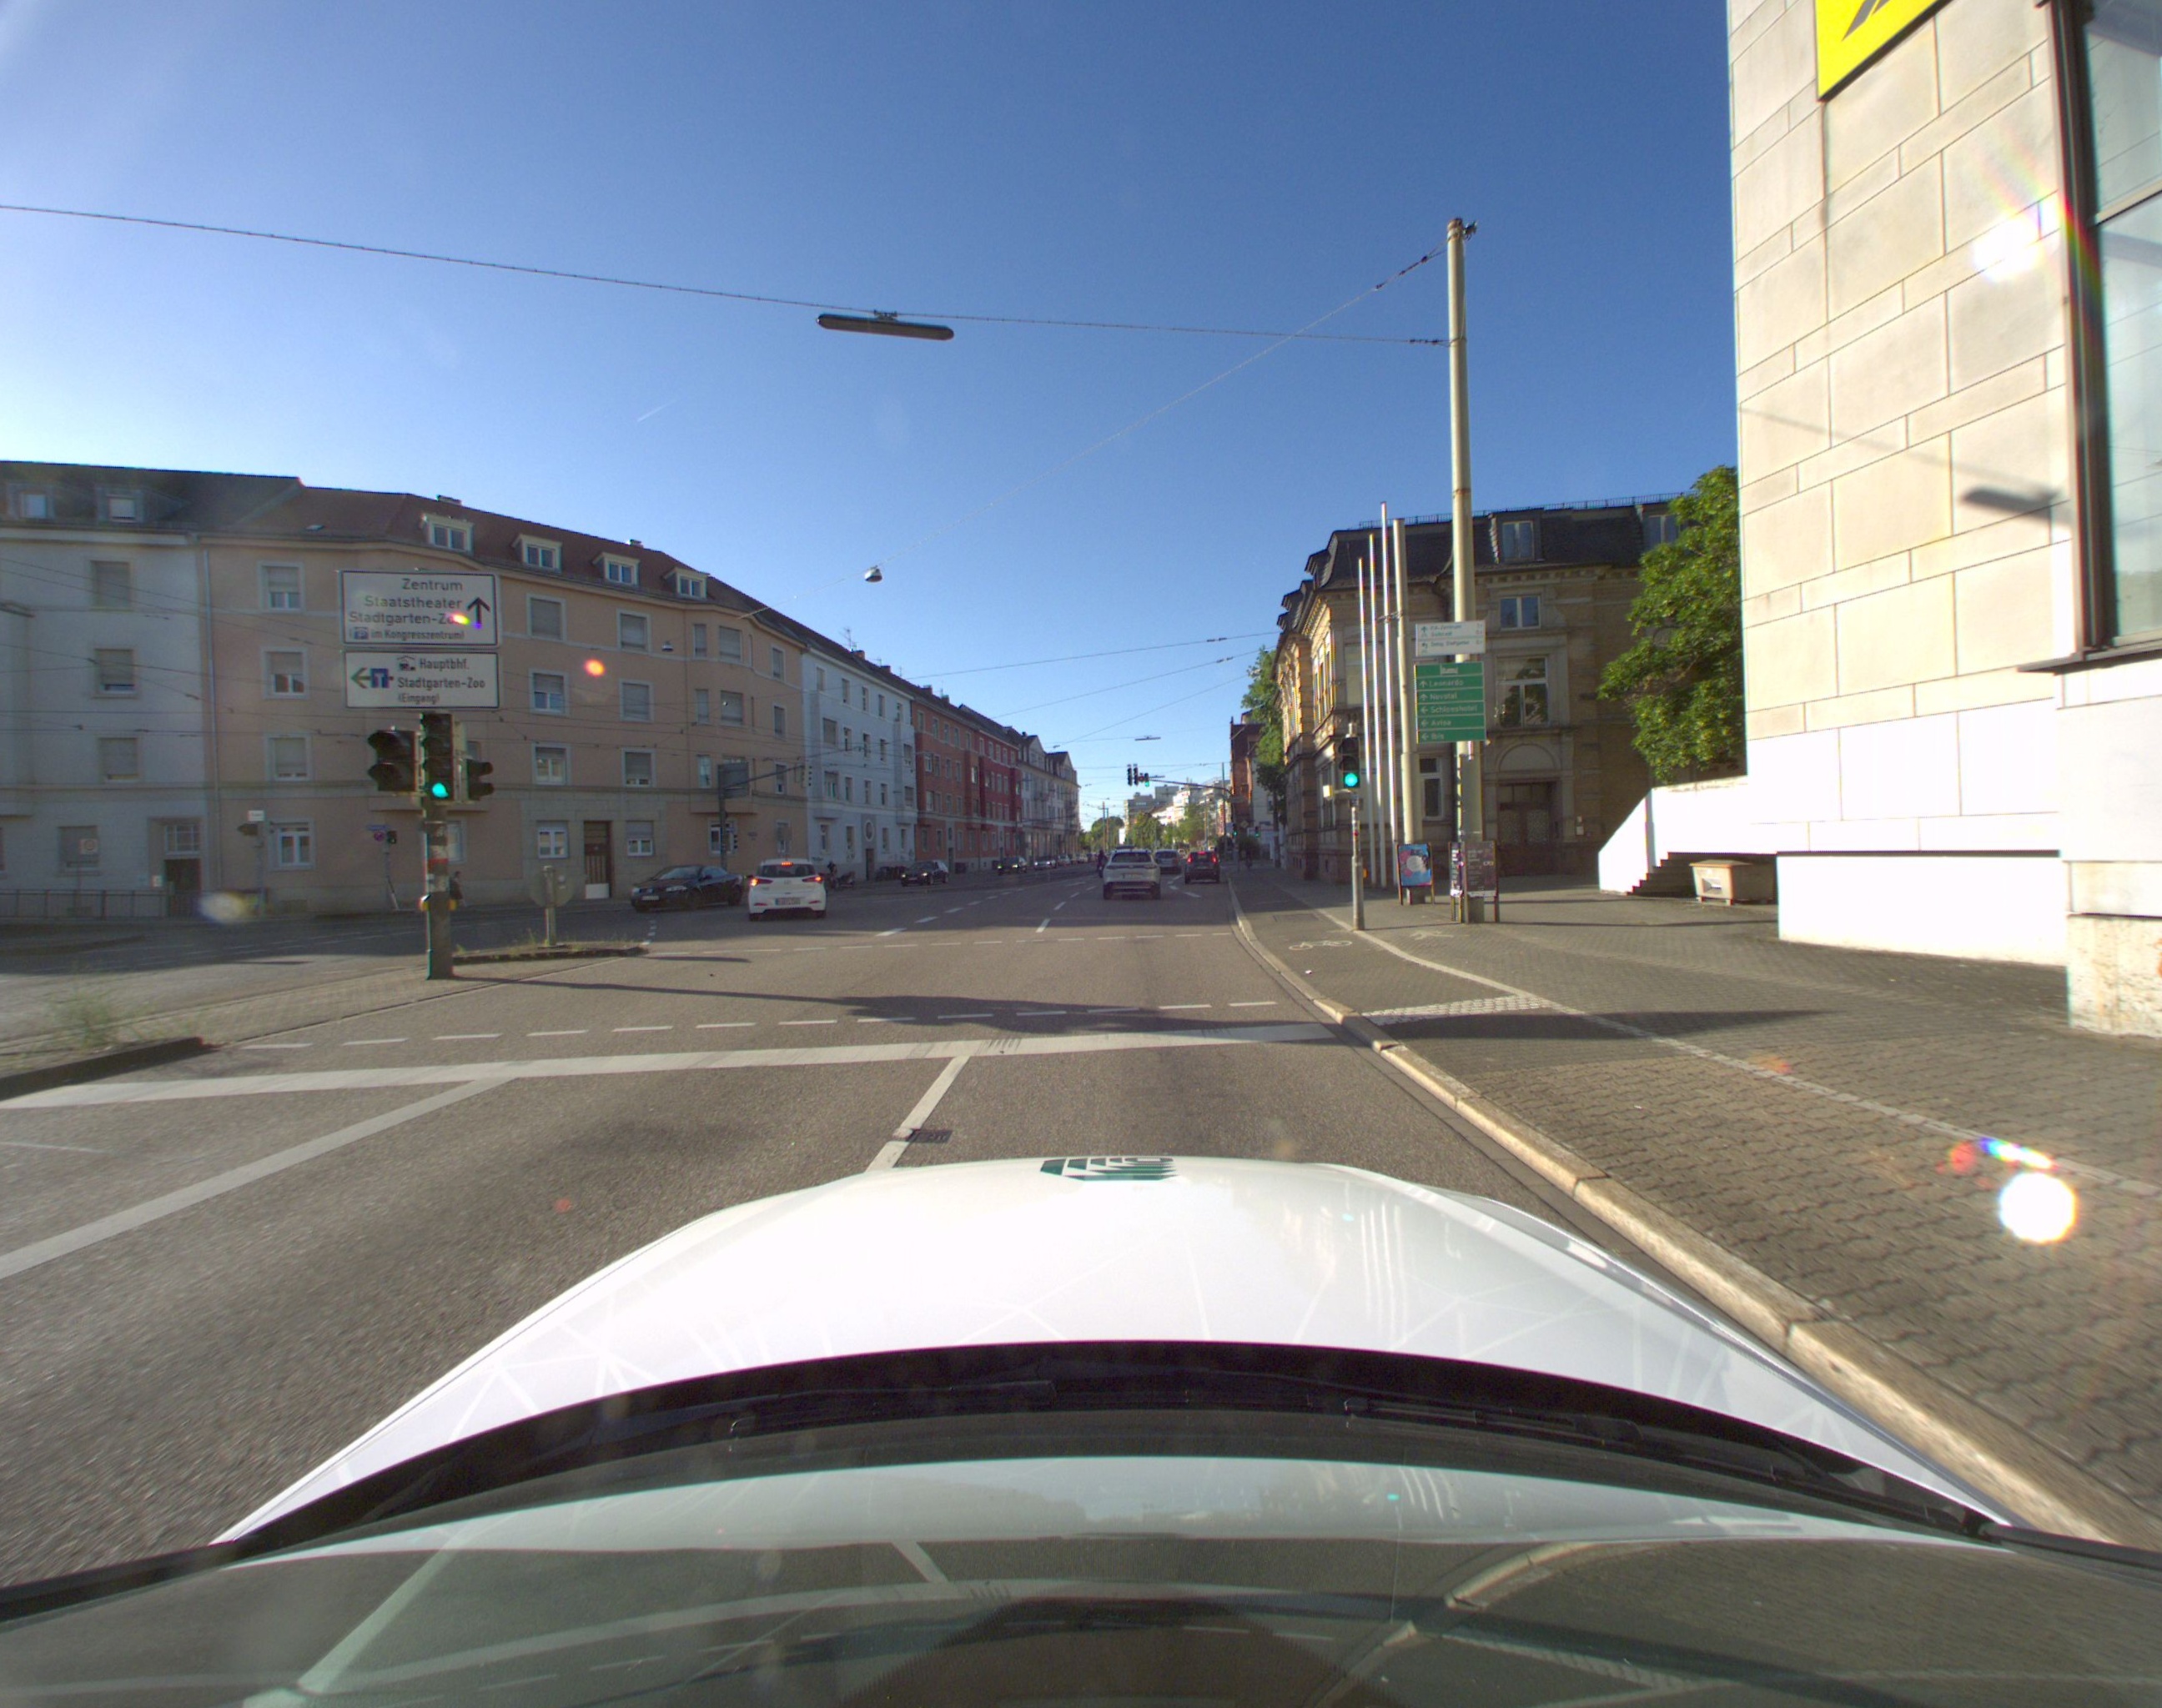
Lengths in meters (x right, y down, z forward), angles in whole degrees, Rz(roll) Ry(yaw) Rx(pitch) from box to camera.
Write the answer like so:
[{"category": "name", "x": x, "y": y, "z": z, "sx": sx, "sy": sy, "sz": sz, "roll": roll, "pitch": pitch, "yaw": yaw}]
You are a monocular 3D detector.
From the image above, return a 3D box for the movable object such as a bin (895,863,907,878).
[{"category": "movable object such as a bin", "x": -13.992, "y": 1.276, "z": 63.289, "sx": 0.698, "sy": 1.106, "sz": 0.584, "roll": -2, "pitch": 0, "yaw": 9}]

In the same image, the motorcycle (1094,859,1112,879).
[{"category": "motorcycle", "x": 1.322, "y": 0.891, "z": 48.639, "sx": 0.772, "sy": 1.082, "sz": 2.287, "roll": -2, "pitch": 0, "yaw": 10}]

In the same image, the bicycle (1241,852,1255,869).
[{"category": "bicycle", "x": 10.933, "y": 0.401, "z": 53.349, "sx": 0.766, "sy": 1.086, "sz": 1.875, "roll": -2, "pitch": 0, "yaw": 8}]

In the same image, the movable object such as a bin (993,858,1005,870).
[{"category": "movable object such as a bin", "x": -9.160, "y": 1.104, "z": 91.025, "sx": 0.864, "sy": 1.249, "sz": 1.238, "roll": -2, "pitch": 0, "yaw": 16}]

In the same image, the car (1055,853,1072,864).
[{"category": "car", "x": -2.449, "y": 0.595, "z": 115.525, "sx": 1.709, "sy": 1.452, "sz": 4.011, "roll": -2, "pitch": 0, "yaw": 10}]

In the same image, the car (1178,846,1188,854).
[{"category": "car", "x": 23.134, "y": -0.946, "z": 184.227, "sx": 1.982, "sy": 1.662, "sz": 4.508, "roll": -2, "pitch": 0, "yaw": 8}]

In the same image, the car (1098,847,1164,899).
[{"category": "car", "x": 1.634, "y": 0.557, "z": 26.482, "sx": 1.939, "sy": 1.528, "sz": 4.094, "roll": -1, "pitch": 0, "yaw": 4}]

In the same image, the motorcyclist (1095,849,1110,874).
[{"category": "motorcyclist", "x": 1.287, "y": 0.436, "z": 48.503, "sx": 0.772, "sy": 1.423, "sz": 0.893, "roll": -2, "pitch": 0, "yaw": 9}]

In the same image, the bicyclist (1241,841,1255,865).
[{"category": "bicyclist", "x": 10.926, "y": -0.071, "z": 53.365, "sx": 0.828, "sy": 1.525, "sz": 0.998, "roll": -2, "pitch": 0, "yaw": 14}]

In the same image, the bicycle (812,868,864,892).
[{"category": "bicycle", "x": -12.547, "y": 1.338, "z": 42.234, "sx": 0.927, "sy": 1.056, "sz": 3.367, "roll": -2, "pitch": 0, "yaw": 14}]

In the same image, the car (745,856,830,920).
[{"category": "car", "x": -7.411, "y": 0.784, "z": 20.524, "sx": 1.793, "sy": 1.394, "sz": 4.077, "roll": -2, "pitch": 0, "yaw": -21}]

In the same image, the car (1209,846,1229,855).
[{"category": "car", "x": 32.434, "y": -0.855, "z": 191.769, "sx": 4.244, "sy": 2.013, "sz": 2.000, "roll": -2, "pitch": 0, "yaw": 0}]

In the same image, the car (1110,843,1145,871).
[{"category": "car", "x": 3.613, "y": 0.203, "z": 62.470, "sx": 2.159, "sy": 2.009, "sz": 4.821, "roll": -2, "pitch": 0, "yaw": 9}]

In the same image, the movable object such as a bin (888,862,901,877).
[{"category": "movable object such as a bin", "x": -14.211, "y": 1.157, "z": 61.985, "sx": 0.698, "sy": 1.106, "sz": 0.650, "roll": -2, "pitch": 0, "yaw": 9}]

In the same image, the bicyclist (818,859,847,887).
[{"category": "bicyclist", "x": -12.698, "y": 0.951, "z": 41.688, "sx": 0.927, "sy": 1.382, "sz": 1.152, "roll": -2, "pitch": 0, "yaw": 14}]

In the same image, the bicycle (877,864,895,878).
[{"category": "bicycle", "x": -14.484, "y": 1.267, "z": 60.485, "sx": 0.602, "sy": 0.980, "sz": 1.882, "roll": -1, "pitch": 0, "yaw": 9}]

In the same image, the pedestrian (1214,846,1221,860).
[{"category": "pedestrian", "x": 16.979, "y": -0.130, "z": 101.359, "sx": 0.870, "sy": 1.824, "sz": 1.188, "roll": -2, "pitch": 0, "yaw": 11}]

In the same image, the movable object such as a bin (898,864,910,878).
[{"category": "movable object such as a bin", "x": -13.894, "y": 1.315, "z": 63.954, "sx": 0.698, "sy": 1.106, "sz": 0.584, "roll": -2, "pitch": 0, "yaw": 9}]

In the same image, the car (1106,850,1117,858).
[{"category": "car", "x": 6.513, "y": -0.009, "z": 172.766, "sx": 1.709, "sy": 1.552, "sz": 4.011, "roll": -2, "pitch": 0, "yaw": 10}]

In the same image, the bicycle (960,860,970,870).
[{"category": "bicycle", "x": -11.275, "y": 1.059, "z": 78.923, "sx": 0.332, "sy": 0.890, "sz": 1.610, "roll": -2, "pitch": 0, "yaw": 14}]

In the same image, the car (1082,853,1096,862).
[{"category": "car", "x": 1.404, "y": 0.574, "z": 137.189, "sx": 1.709, "sy": 1.552, "sz": 4.011, "roll": -2, "pitch": 0, "yaw": 10}]

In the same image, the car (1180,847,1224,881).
[{"category": "car", "x": 5.745, "y": 0.430, "z": 38.346, "sx": 1.719, "sy": 1.500, "sz": 4.014, "roll": -1, "pitch": 0, "yaw": 13}]

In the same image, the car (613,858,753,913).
[{"category": "car", "x": -11.998, "y": 0.898, "z": 24.904, "sx": 1.815, "sy": 1.425, "sz": 4.334, "roll": -2, "pitch": 0, "yaw": 5}]

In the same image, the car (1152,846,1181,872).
[{"category": "car", "x": 5.848, "y": 0.318, "z": 55.142, "sx": 1.804, "sy": 1.582, "sz": 4.008, "roll": -2, "pitch": 0, "yaw": 7}]

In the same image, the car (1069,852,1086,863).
[{"category": "car", "x": -0.545, "y": 0.477, "z": 127.128, "sx": 1.824, "sy": 1.552, "sz": 4.286, "roll": -2, "pitch": 0, "yaw": 10}]

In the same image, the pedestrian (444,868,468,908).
[{"category": "pedestrian", "x": -25.647, "y": 1.391, "z": 33.395, "sx": 0.724, "sy": 1.563, "sz": 0.669, "roll": -2, "pitch": 0, "yaw": -40}]

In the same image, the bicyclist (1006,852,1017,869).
[{"category": "bicyclist", "x": -6.860, "y": 0.632, "z": 80.328, "sx": 0.742, "sy": 1.643, "sz": 1.129, "roll": -2, "pitch": 0, "yaw": 10}]

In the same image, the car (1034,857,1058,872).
[{"category": "car", "x": -3.468, "y": 1.037, "z": 81.726, "sx": 1.716, "sy": 1.375, "sz": 3.543, "roll": -2, "pitch": 0, "yaw": 8}]

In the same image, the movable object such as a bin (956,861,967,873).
[{"category": "movable object such as a bin", "x": -11.397, "y": 1.237, "z": 77.654, "sx": 0.839, "sy": 1.040, "sz": 0.813, "roll": -2, "pitch": 0, "yaw": 5}]

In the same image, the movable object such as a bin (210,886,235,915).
[{"category": "movable object such as a bin", "x": -32.887, "y": 1.785, "z": 31.207, "sx": 0.449, "sy": 1.065, "sz": 0.480, "roll": -2, "pitch": 0, "yaw": -12}]

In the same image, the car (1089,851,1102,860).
[{"category": "car", "x": 2.546, "y": 0.216, "z": 143.311, "sx": 1.709, "sy": 1.552, "sz": 4.011, "roll": -2, "pitch": 0, "yaw": 10}]

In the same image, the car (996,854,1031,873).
[{"category": "car", "x": -5.700, "y": 0.779, "z": 69.052, "sx": 1.911, "sy": 1.455, "sz": 4.510, "roll": -2, "pitch": 0, "yaw": 9}]

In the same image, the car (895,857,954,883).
[{"category": "car", "x": -9.111, "y": 0.897, "z": 47.873, "sx": 1.982, "sy": 1.392, "sz": 4.572, "roll": -2, "pitch": 0, "yaw": 8}]

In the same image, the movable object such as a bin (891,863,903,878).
[{"category": "movable object such as a bin", "x": -14.129, "y": 1.293, "z": 62.652, "sx": 0.698, "sy": 1.106, "sz": 0.584, "roll": -2, "pitch": 0, "yaw": 10}]

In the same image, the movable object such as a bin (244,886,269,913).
[{"category": "movable object such as a bin", "x": -31.850, "y": 1.752, "z": 31.470, "sx": 0.449, "sy": 1.032, "sz": 0.480, "roll": -2, "pitch": 0, "yaw": -12}]

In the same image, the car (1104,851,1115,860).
[{"category": "car", "x": 5.911, "y": 0.299, "z": 166.758, "sx": 1.709, "sy": 1.552, "sz": 4.011, "roll": -2, "pitch": 0, "yaw": 10}]
